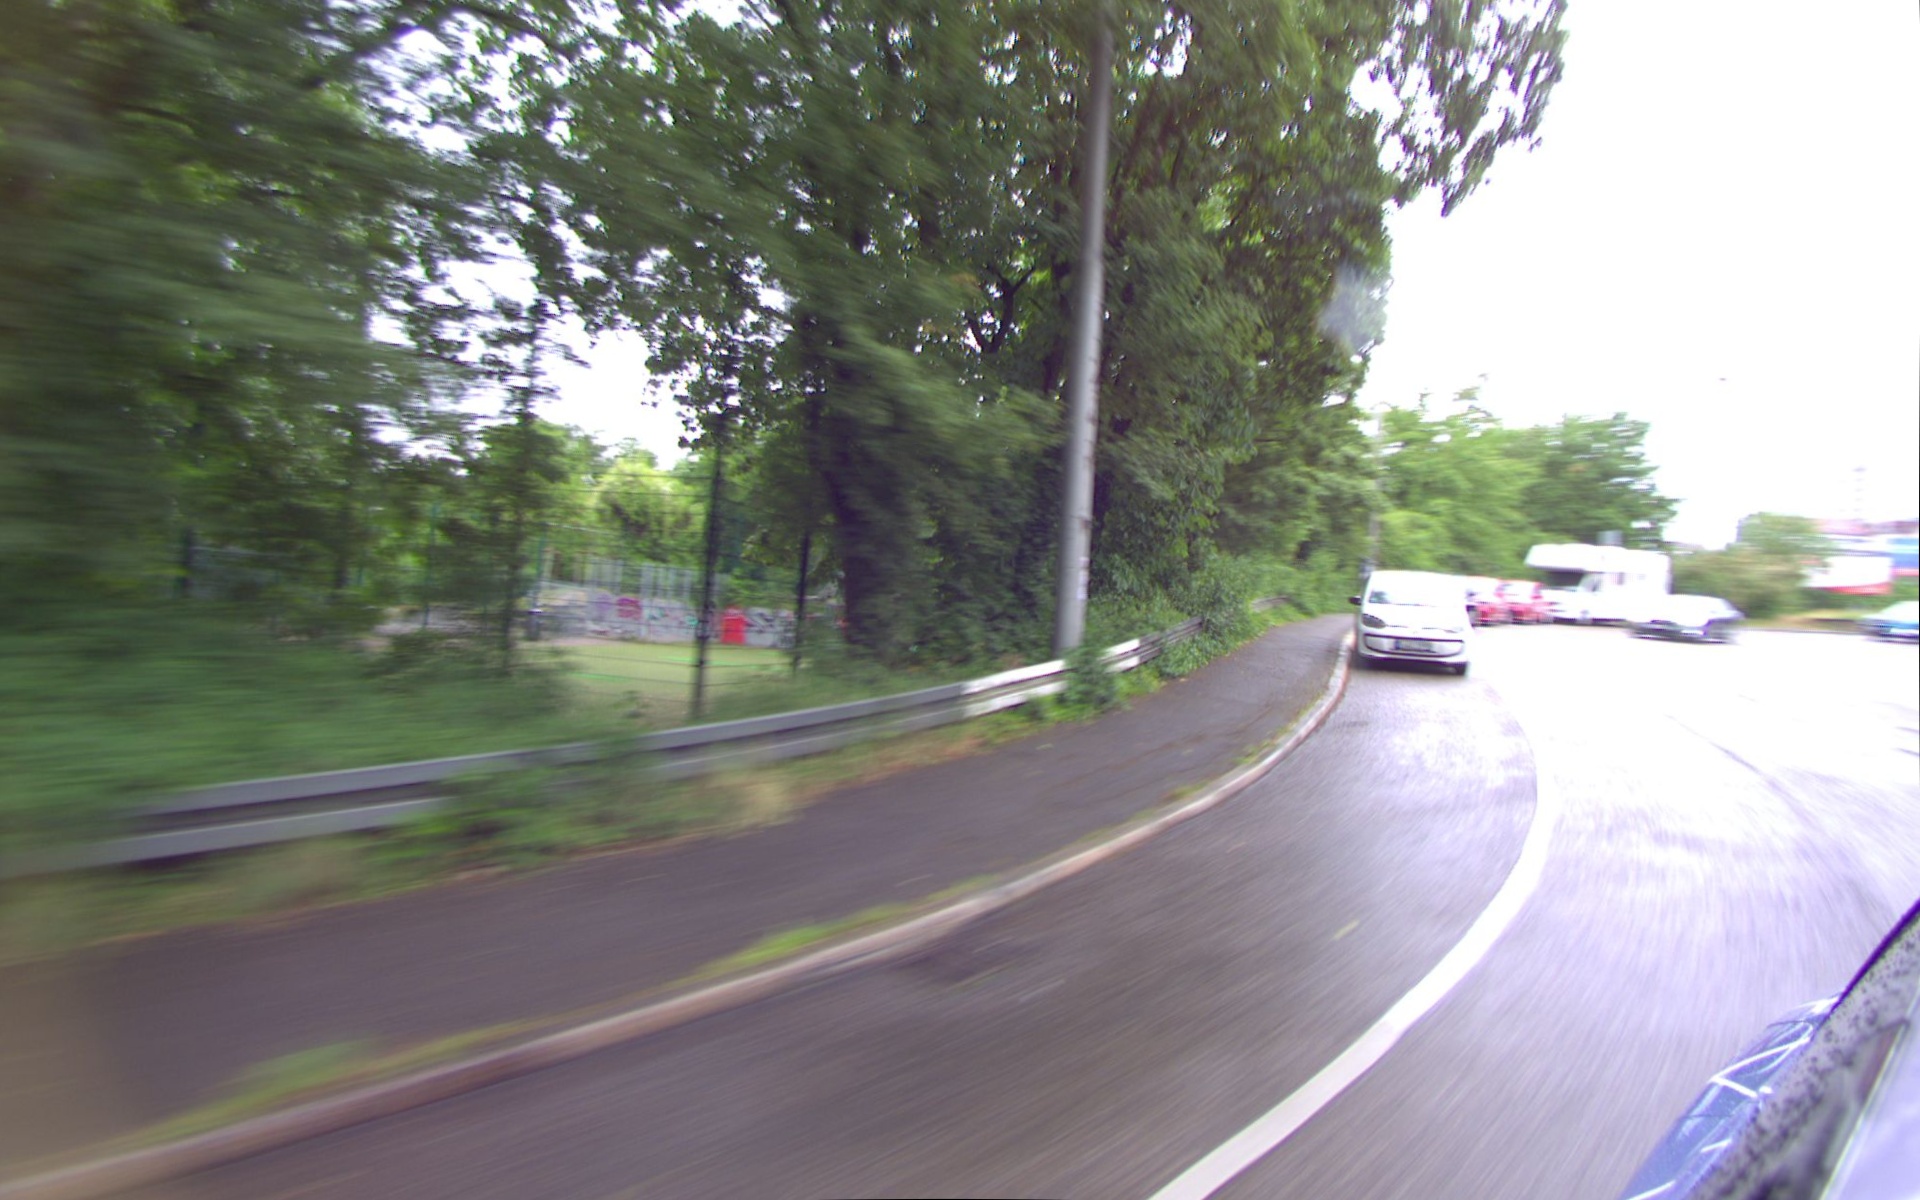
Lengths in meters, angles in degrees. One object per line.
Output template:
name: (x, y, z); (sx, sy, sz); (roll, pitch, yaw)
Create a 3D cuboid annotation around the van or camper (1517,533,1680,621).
van or camper: (24.449, -0.860, 38.716); (6.153, 2.979, 2.402); (2, 3, -29)

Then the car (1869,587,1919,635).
car: (37.451, 0.535, 38.551); (3.965, 1.630, 1.802); (5, -2, -1)

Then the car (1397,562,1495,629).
car: (13.159, -0.132, 27.247); (1.712, 1.531, 4.541); (6, 3, 33)

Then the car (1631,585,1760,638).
car: (22.820, 0.369, 31.370); (4.240, 1.409, 1.838); (2, 3, -34)

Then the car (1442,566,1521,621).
car: (16.301, -0.194, 31.556); (1.555, 1.531, 3.627); (6, 3, 36)

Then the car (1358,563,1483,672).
car: (7.344, 0.184, 16.420); (1.571, 1.520, 3.642); (2, 3, 21)

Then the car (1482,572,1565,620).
car: (19.694, -0.147, 35.306); (1.641, 1.478, 3.749); (7, 4, 41)
